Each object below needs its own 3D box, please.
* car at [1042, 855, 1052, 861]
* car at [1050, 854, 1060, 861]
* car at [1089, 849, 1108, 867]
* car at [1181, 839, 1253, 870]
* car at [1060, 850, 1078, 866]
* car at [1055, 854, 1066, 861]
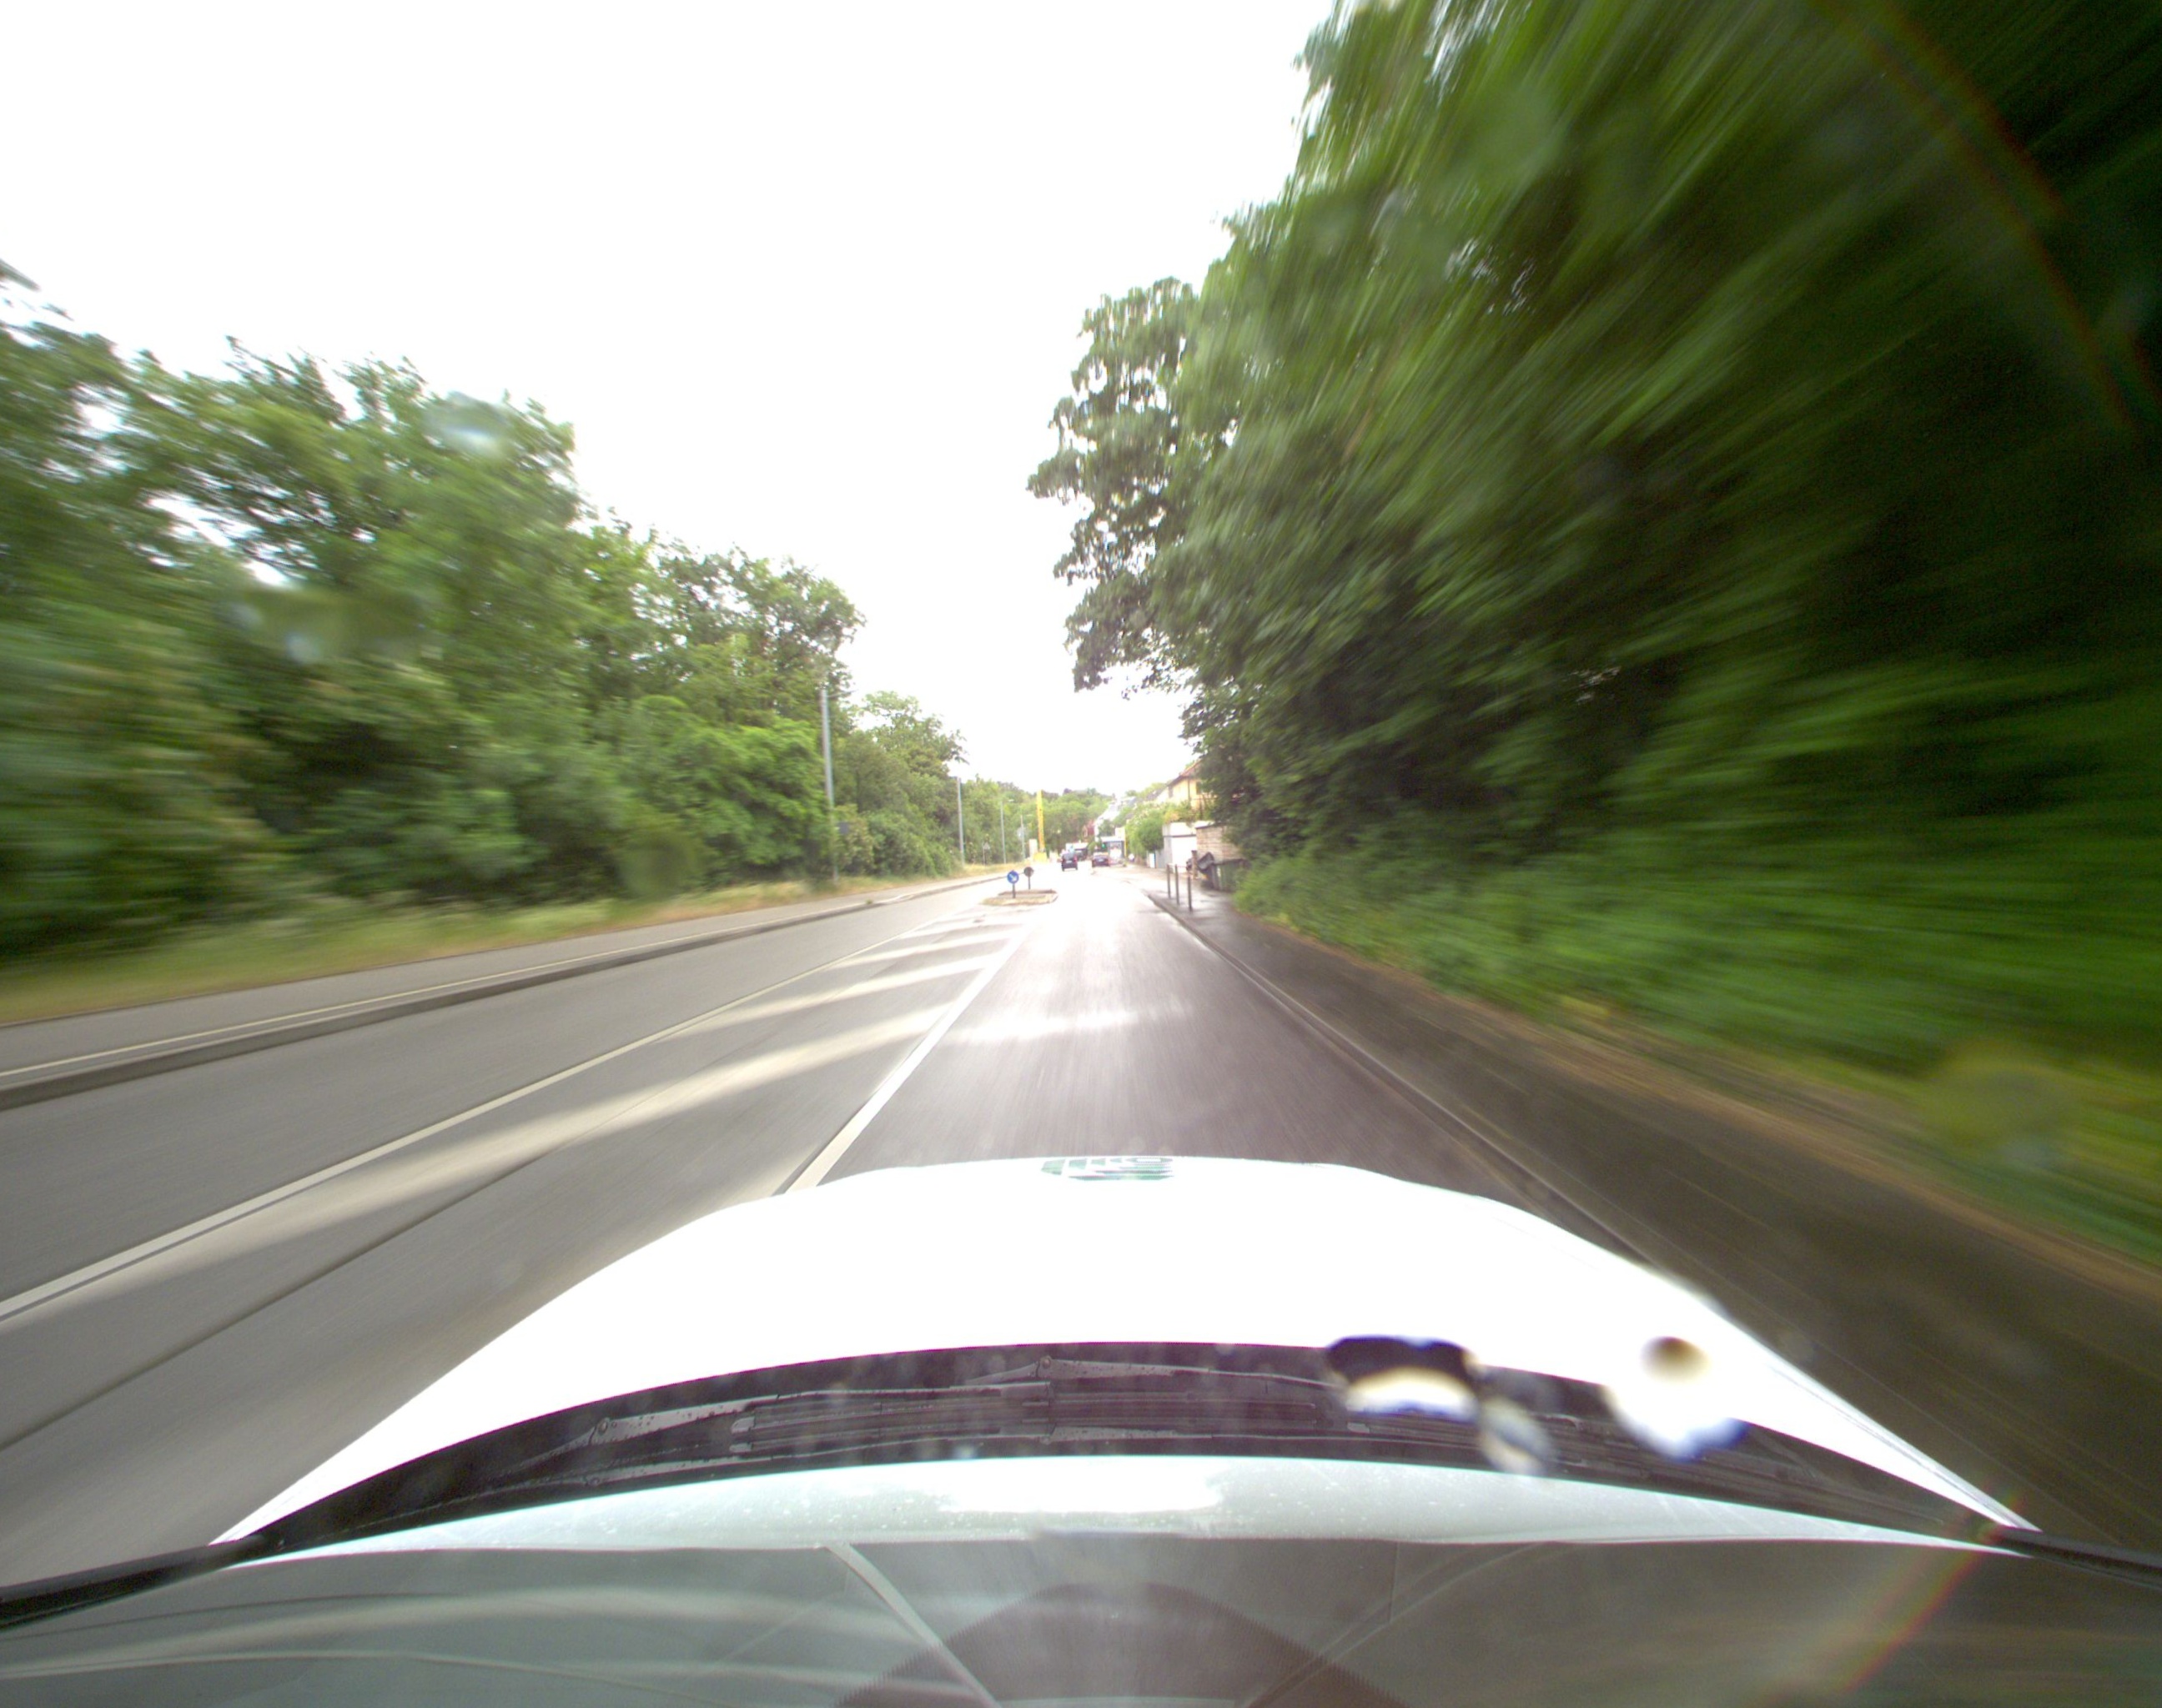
[{"bbox_3d":[-8.562,1.037,204.210,1.742,1.552,3.839,-2,0,-13],"label":"car"},{"bbox_3d":[-6.445,0.798,198.164,1.742,1.552,3.839,-1,0,-13],"label":"car"},{"bbox_3d":[1.867,0.424,87.339,1.986,1.772,4.115,-1,0,1],"label":"car"},{"bbox_3d":[7.629,0.044,45.974,3.758,1.552,1.608,-3,0,-1],"label":"car"},{"bbox_3d":[-1.205,0.412,83.347,1.661,1.593,3.684,-2,0,1],"label":"car"},{"bbox_3d":[-4.818,0.867,192.693,1.742,1.552,3.839,-2,0,-13],"label":"car"}]
